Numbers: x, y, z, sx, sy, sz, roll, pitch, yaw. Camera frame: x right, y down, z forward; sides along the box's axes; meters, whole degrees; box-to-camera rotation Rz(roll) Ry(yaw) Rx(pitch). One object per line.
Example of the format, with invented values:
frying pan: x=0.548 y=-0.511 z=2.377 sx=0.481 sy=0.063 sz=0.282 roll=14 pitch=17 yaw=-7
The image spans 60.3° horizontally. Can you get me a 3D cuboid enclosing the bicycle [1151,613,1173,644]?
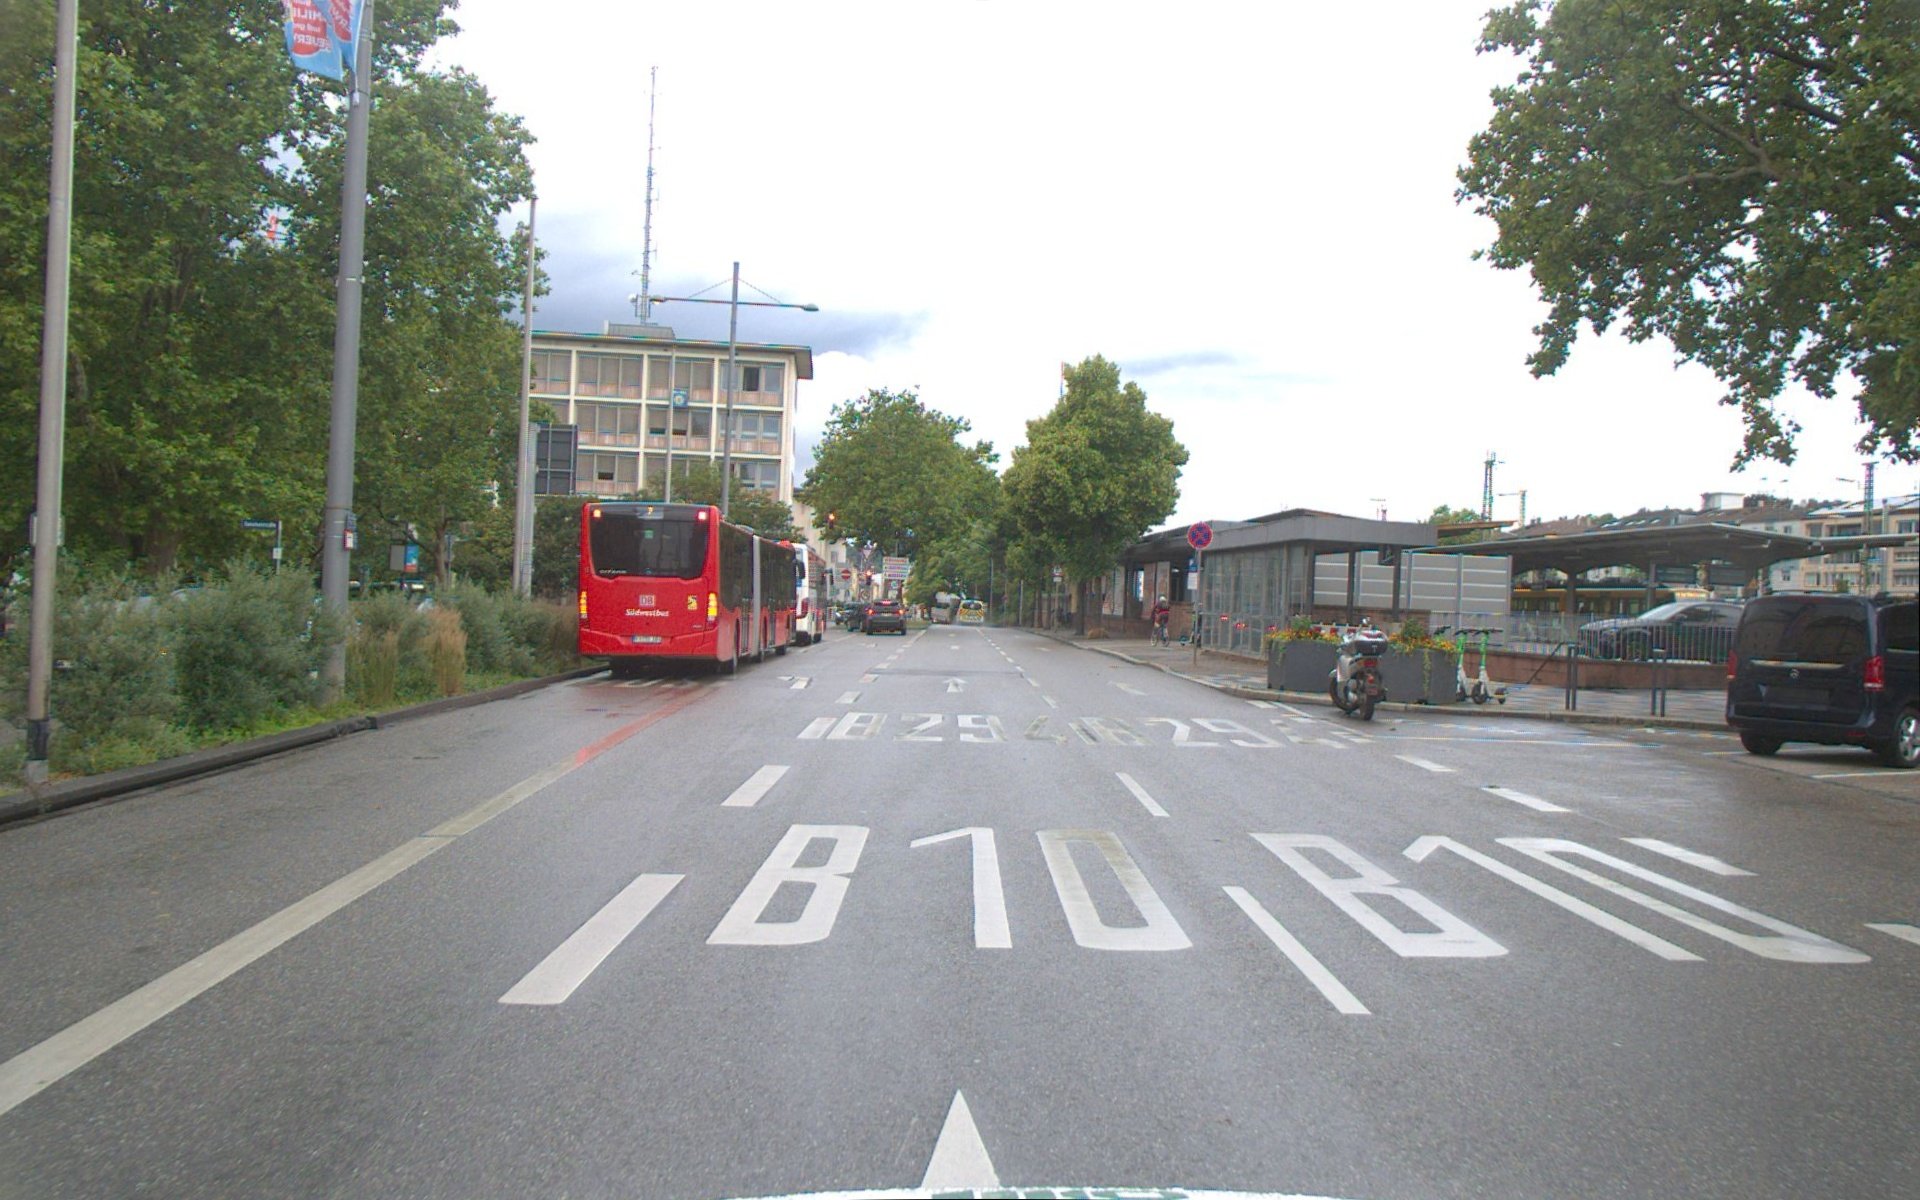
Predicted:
bicycle: x=6.785 y=0.954 z=55.656 sx=0.437 sy=1.034 sz=1.676 roll=-1 pitch=0 yaw=-3

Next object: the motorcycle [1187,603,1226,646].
motorcycle: x=8.101 y=0.788 z=54.359 sx=0.776 sy=1.371 sz=2.455 roll=1 pitch=0 yaw=-3

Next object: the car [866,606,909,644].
car: x=-3.337 y=1.151 z=76.381 sx=1.925 sy=1.668 sz=4.356 roll=1 pitch=0 yaw=-2

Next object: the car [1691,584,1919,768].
car: x=10.916 y=0.805 z=19.282 sx=4.635 sy=1.907 sz=2.088 roll=1 pitch=0 yaw=-30

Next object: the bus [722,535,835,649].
bus: x=-6.130 y=-0.255 z=57.822 sx=2.896 sy=3.499 sz=12.554 roll=1 pitch=0 yaw=-2

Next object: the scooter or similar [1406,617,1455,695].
scooter or similar: x=7.492 y=0.890 z=26.296 sx=0.405 sy=1.175 sz=1.260 roll=3 pitch=0 yaw=30

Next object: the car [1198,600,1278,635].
car: x=12.782 y=0.800 z=76.269 sx=3.483 sy=1.569 sz=1.748 roll=0 pitch=0 yaw=4

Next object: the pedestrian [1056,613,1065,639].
pedestrian: x=6.257 y=1.608 z=102.718 sx=0.448 sy=1.596 sz=0.392 roll=0 pitch=-1 yaw=31

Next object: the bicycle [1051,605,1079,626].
bicycle: x=6.536 y=0.946 z=103.071 sx=1.688 sy=1.271 sz=0.485 roll=0 pitch=-1 yaw=31

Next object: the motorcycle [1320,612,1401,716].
motorcycle: x=5.648 y=0.870 z=23.423 sx=0.630 sy=1.376 sz=2.109 roll=1 pitch=0 yaw=0

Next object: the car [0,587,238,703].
car: x=-12.952 y=0.634 z=25.571 sx=1.755 sy=1.606 sz=4.736 roll=0 pitch=0 yaw=-4

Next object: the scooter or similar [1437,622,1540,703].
scooter or similar: x=8.443 y=0.985 z=26.509 sx=1.043 sy=1.175 sz=1.667 roll=3 pitch=0 yaw=0

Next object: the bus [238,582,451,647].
bus: x=-33.263 y=0.817 z=89.223 sx=11.687 sy=3.072 sz=2.890 roll=-2 pitch=-2 yaw=20

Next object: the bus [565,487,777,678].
bus: x=-5.605 y=-0.313 z=33.938 sx=2.753 sy=3.302 sz=9.910 roll=1 pitch=0 yaw=-1

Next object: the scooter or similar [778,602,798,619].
scooter or similar: x=-12.760 y=0.782 z=122.642 sx=0.596 sy=1.185 sz=1.524 roll=1 pitch=-1 yaw=32

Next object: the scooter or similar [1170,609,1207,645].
scooter or similar: x=7.811 y=0.917 z=56.540 sx=0.485 sy=1.173 sz=1.705 roll=1 pitch=-1 yaw=-20

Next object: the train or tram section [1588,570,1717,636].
train or tram section: x=36.855 y=0.182 z=88.444 sx=2.601 sy=3.340 sz=9.516 roll=0 pitch=0 yaw=-2

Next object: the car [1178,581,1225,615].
car: x=14.189 y=-0.072 z=97.383 sx=1.953 sy=1.904 sz=4.596 roll=1 pitch=-1 yaw=-2

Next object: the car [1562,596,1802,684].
car: x=16.412 y=0.896 z=37.731 sx=4.593 sy=1.907 sz=2.107 roll=1 pitch=0 yaw=-5

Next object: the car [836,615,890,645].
car: x=-4.929 y=1.505 z=83.371 sx=1.786 sy=1.434 sz=4.394 roll=1 pitch=0 yaw=-17

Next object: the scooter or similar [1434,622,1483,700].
scooter or similar: x=7.870 y=0.952 z=26.081 sx=0.405 sy=1.175 sz=1.260 roll=3 pitch=0 yaw=30

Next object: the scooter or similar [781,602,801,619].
scooter or similar: x=-12.459 y=0.792 z=121.892 sx=0.596 sy=1.213 sz=1.524 roll=1 pitch=-1 yaw=32

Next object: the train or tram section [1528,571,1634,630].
train or tram section: x=36.525 y=0.061 z=97.699 sx=2.601 sy=3.340 sz=9.130 roll=0 pitch=0 yaw=-2

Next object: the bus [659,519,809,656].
bus: x=-5.716 y=-0.306 z=43.292 sx=2.696 sy=3.187 sz=8.842 roll=1 pitch=0 yaw=0

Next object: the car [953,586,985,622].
car: x=0.651 y=0.291 z=125.275 sx=2.219 sy=2.703 sz=3.998 roll=1 pitch=0 yaw=-3

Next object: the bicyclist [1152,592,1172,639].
bicyclist: x=6.798 y=0.527 z=55.618 sx=0.523 sy=1.565 sz=0.694 roll=-1 pitch=-1 yaw=-4
